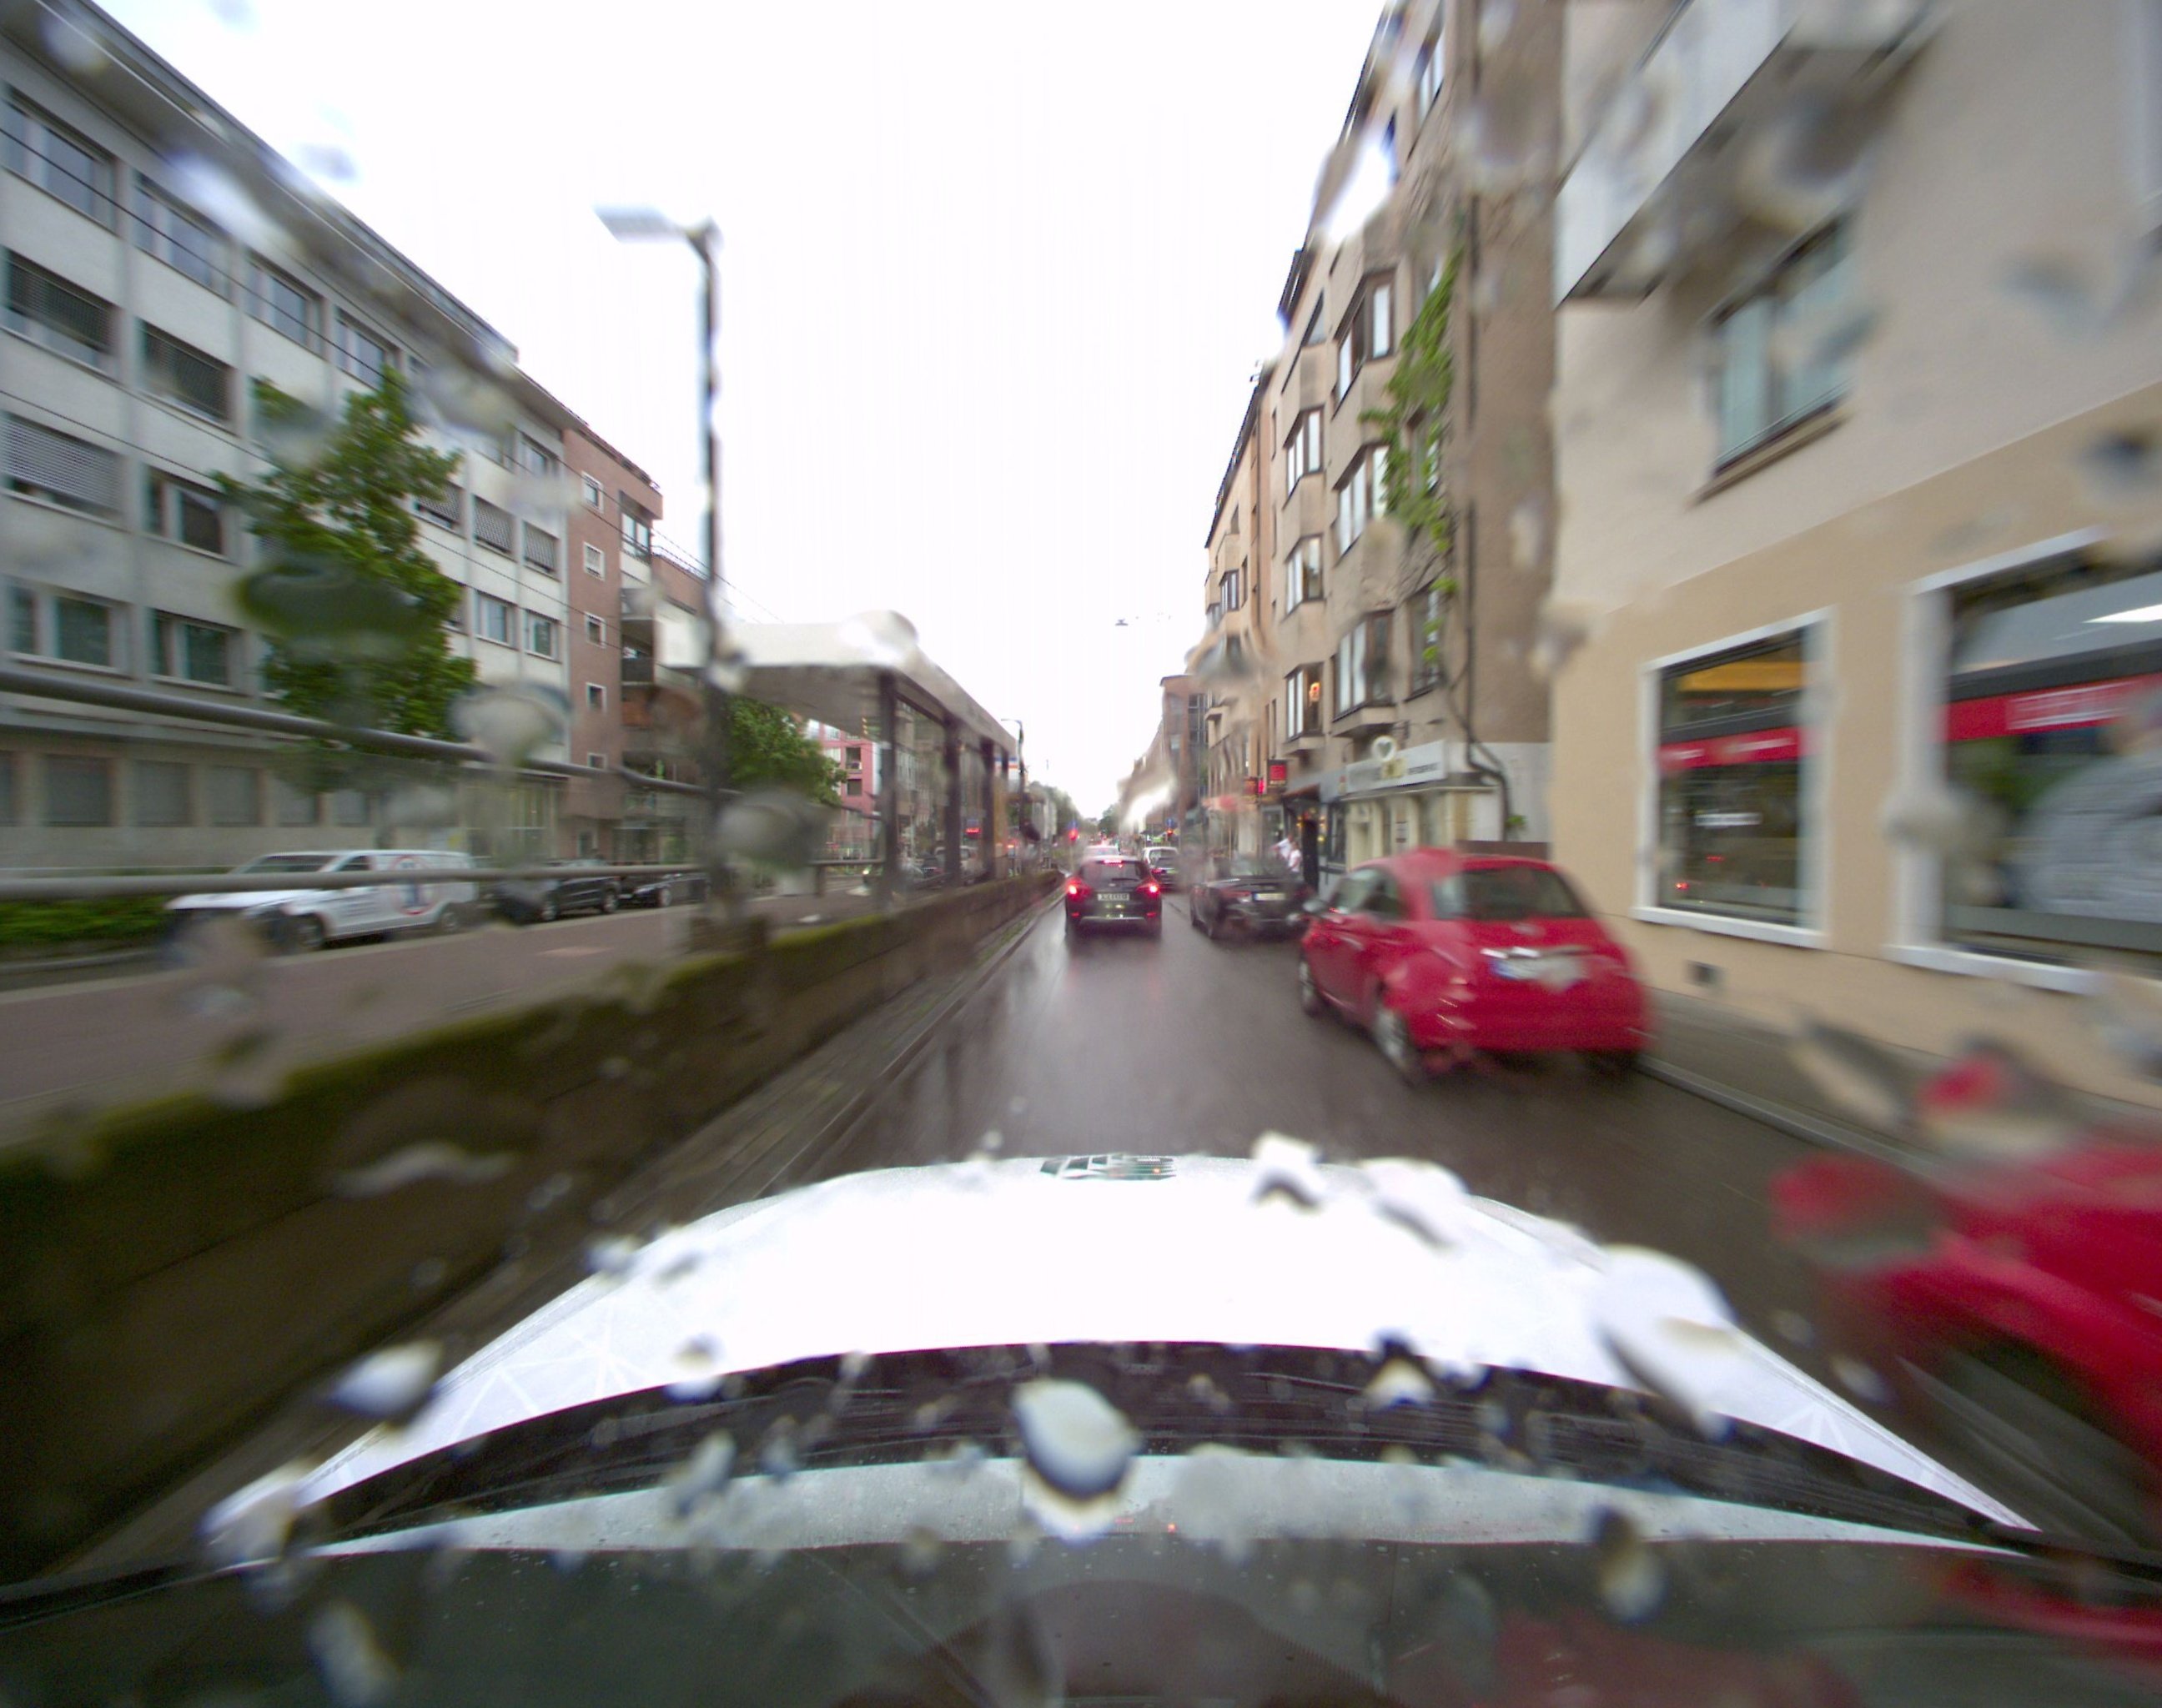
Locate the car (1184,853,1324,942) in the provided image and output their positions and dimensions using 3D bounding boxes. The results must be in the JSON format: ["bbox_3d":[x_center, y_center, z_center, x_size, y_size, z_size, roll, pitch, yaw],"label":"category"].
[{"bbox_3d":[3.200,0.729,15.918,1.900,1.462,4.246,-1,0,1],"label":"car"}]

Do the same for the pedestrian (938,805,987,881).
[{"bbox_3d":[-2.091,-0.188,14.421,0.725,1.302,0.701,-2,0,-1],"label":"pedestrian"}]

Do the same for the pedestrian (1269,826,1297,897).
[{"bbox_3d":[5.474,0.200,22.059,0.528,1.858,0.555,-2,0,-6],"label":"pedestrian"}]

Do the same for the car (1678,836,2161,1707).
[{"bbox_3d":[2.640,0.693,0.764,1.709,1.462,3.447,-1,0,2],"label":"car"}]

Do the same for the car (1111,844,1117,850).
[{"bbox_3d":[10.481,-2.268,259.288,1.899,1.633,4.577,-1,0,3],"label":"car"}]

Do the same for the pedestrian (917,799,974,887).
[{"bbox_3d":[-2.099,-0.168,12.670,0.725,1.302,0.701,-2,0,1],"label":"pedestrian"}]

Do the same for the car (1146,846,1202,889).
[{"bbox_3d":[3.744,0.517,33.405,1.899,1.615,4.416,-1,0,2],"label":"car"}]

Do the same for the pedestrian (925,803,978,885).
[{"bbox_3d":[-2.127,-0.166,13.425,0.725,1.302,0.701,-2,0,-1],"label":"pedestrian"}]

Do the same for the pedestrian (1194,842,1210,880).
[{"bbox_3d":[5.452,0.307,36.781,0.608,1.714,0.581,-2,0,3],"label":"pedestrian"}]

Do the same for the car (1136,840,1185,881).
[{"bbox_3d":[3.763,0.300,39.343,1.900,1.806,4.776,-1,0,0],"label":"car"}]

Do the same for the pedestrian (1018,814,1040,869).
[{"bbox_3d":[-1.548,-0.375,24.393,0.581,1.609,0.701,-2,0,-1],"label":"pedestrian"}]

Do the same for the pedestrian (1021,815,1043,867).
[{"bbox_3d":[-1.509,-0.391,25.101,0.581,1.557,0.701,-2,0,-1],"label":"pedestrian"}]

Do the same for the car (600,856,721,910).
[{"bbox_3d":[-14.009,0.902,27.450,1.632,1.624,4.373,-1,0,2],"label":"car"}]

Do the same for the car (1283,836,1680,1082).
[{"bbox_3d":[2.848,0.635,6.644,1.639,1.462,3.416,-1,0,2],"label":"car"}]

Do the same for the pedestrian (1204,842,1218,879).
[{"bbox_3d":[6.079,0.315,38.064,0.573,1.714,0.477,-2,0,3],"label":"pedestrian"}]

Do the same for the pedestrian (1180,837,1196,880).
[{"bbox_3d":[4.956,0.213,37.762,0.649,1.948,0.534,-2,0,3],"label":"pedestrian"}]

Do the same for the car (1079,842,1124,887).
[{"bbox_3d":[0.974,0.446,37.020,1.899,1.864,4.576,-1,0,2],"label":"car"}]

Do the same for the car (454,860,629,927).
[{"bbox_3d":[-14.242,0.980,21.843,1.632,1.536,4.373,-1,0,2],"label":"car"}]

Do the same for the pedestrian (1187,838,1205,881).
[{"bbox_3d":[5.084,0.242,36.056,0.692,1.855,0.653,-2,0,3],"label":"pedestrian"}]

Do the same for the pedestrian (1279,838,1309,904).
[{"bbox_3d":[5.588,0.444,21.371,0.544,1.680,0.594,-2,0,-6],"label":"pedestrian"}]

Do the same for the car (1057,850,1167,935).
[{"bbox_3d":[0.612,0.669,16.010,1.899,1.462,3.447,-1,0,2],"label":"car"}]

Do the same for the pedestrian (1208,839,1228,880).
[{"bbox_3d":[6.085,0.238,36.278,0.753,1.819,0.588,-2,0,3],"label":"pedestrian"}]

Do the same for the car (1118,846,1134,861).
[{"bbox_3d":[4.887,-0.081,88.224,1.691,1.479,3.870,-3,0,3],"label":"car"}]

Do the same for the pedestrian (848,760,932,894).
[{"bbox_3d":[-2.551,-0.358,10.962,0.914,1.724,0.701,-2,0,-1],"label":"pedestrian"}]

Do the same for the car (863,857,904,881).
[{"bbox_3d":[-12.101,0.894,50.033,1.634,1.338,3.734,-1,0,-1],"label":"car"}]

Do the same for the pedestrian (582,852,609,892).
[{"bbox_3d":[-19.200,0.698,32.205,0.697,1.557,0.584,-2,0,-5],"label":"pedestrian"}]

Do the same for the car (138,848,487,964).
[{"bbox_3d":[-14.387,0.837,15.855,1.902,1.844,5.253,-1,0,-2],"label":"car"}]
